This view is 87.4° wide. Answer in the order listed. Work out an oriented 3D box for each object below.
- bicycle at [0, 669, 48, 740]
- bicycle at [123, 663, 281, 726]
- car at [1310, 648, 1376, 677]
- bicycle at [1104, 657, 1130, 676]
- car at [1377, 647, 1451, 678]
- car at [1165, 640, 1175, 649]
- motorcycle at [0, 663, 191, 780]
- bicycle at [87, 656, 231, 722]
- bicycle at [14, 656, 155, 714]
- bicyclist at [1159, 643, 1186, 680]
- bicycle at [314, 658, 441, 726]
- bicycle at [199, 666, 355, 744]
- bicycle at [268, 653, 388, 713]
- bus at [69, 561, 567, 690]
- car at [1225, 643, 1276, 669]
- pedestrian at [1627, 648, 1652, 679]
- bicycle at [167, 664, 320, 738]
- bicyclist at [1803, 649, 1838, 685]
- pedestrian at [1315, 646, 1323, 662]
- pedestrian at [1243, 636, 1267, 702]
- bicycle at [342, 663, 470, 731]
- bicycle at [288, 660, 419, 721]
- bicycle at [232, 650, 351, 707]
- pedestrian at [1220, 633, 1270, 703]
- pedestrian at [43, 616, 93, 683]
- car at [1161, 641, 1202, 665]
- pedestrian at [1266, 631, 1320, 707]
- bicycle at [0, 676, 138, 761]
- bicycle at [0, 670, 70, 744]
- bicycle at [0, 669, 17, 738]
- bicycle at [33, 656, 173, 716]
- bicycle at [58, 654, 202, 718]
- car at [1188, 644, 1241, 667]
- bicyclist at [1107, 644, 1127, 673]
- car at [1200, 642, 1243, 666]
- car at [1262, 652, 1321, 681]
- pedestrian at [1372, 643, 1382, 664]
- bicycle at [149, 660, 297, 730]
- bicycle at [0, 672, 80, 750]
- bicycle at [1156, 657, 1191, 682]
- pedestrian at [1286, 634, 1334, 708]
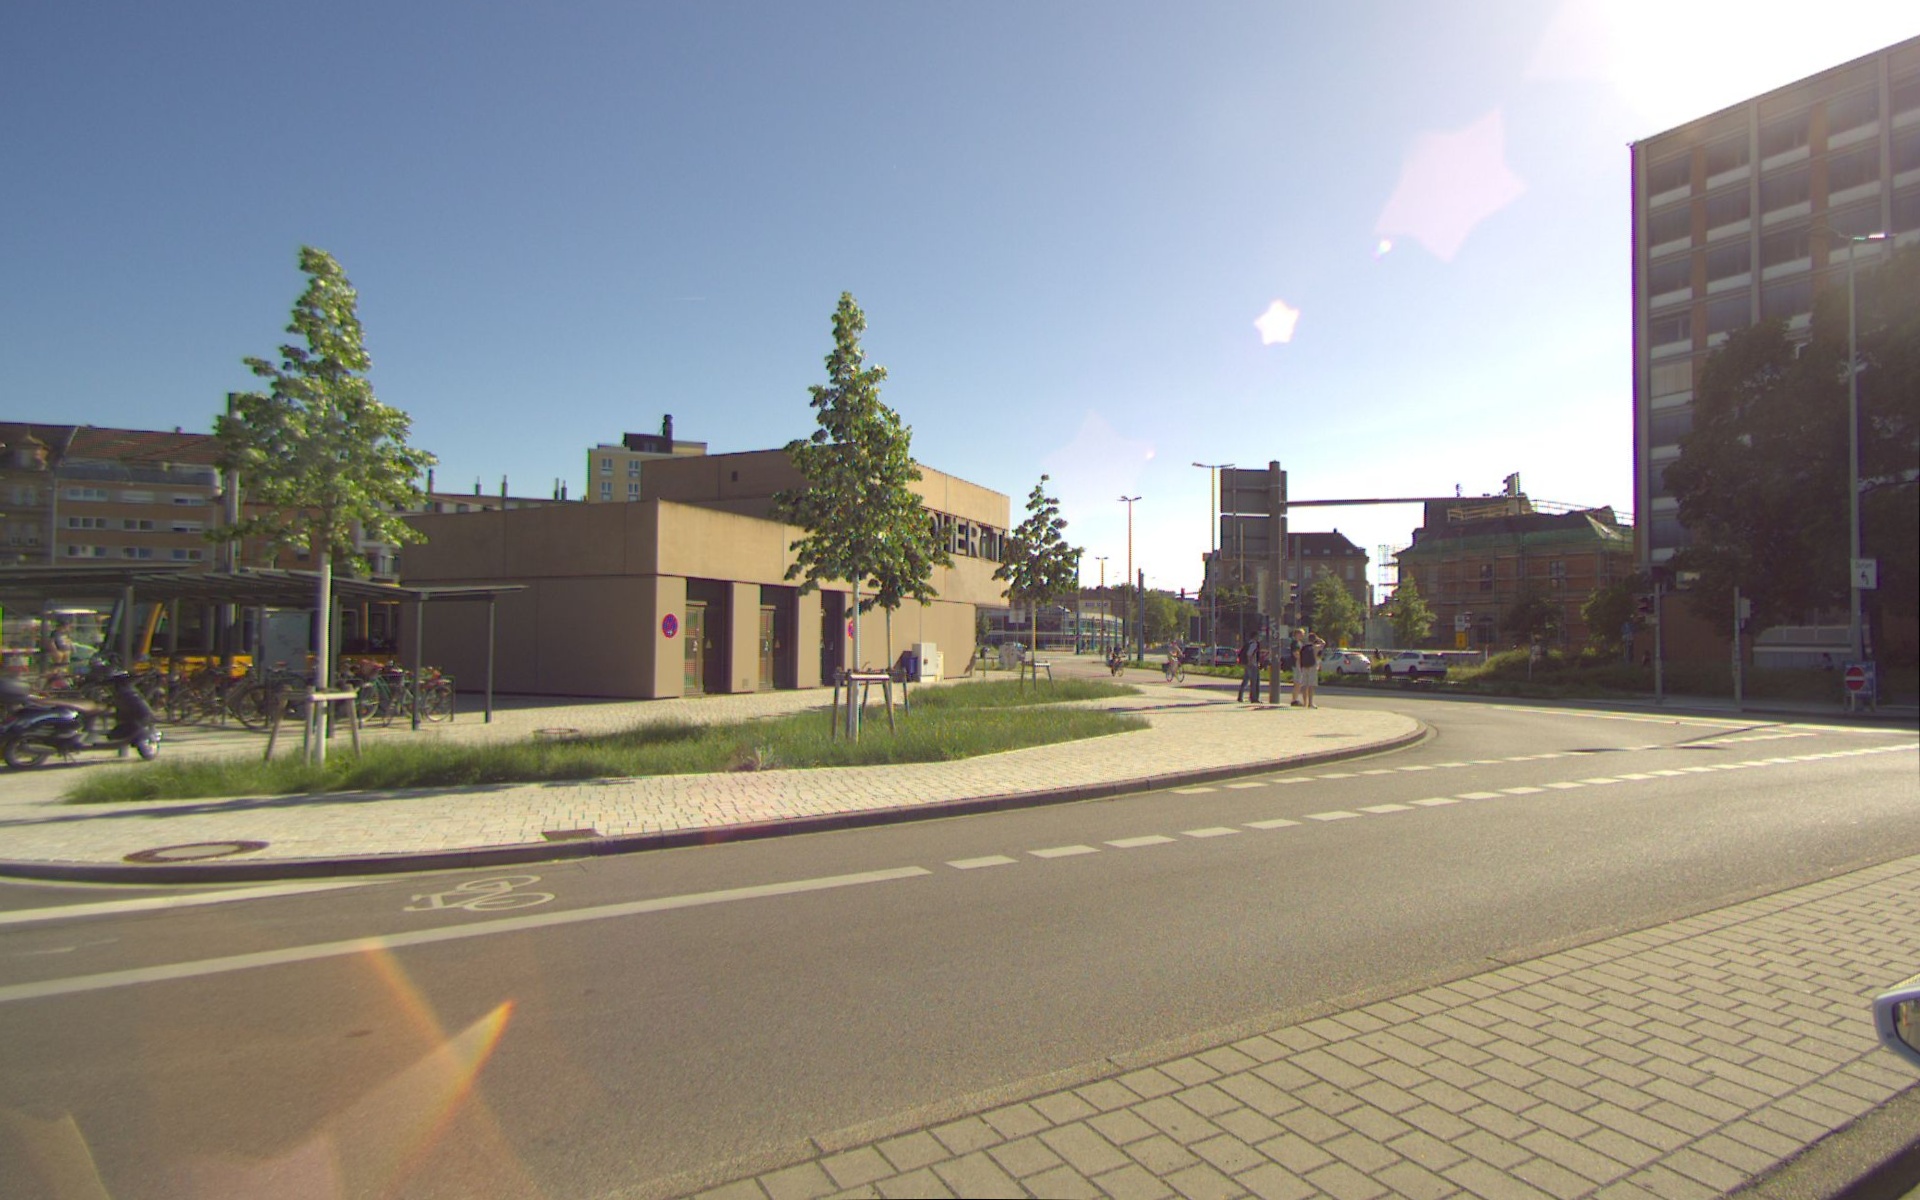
[{"bbox_3d":[-14.200,1.525,14.372,0.399,0.985,1.683,2,0,22],"label":"bicycle"},{"bbox_3d":[-13.709,1.677,18.258,0.673,0.956,2.233,2,0,25],"label":"bicycle"},{"bbox_3d":[21.258,3.453,55.923,1.711,1.454,3.843,1,-2,-10],"label":"car"},{"bbox_3d":[7.855,3.339,50.259,0.675,0.930,1.988,1,-4,-9],"label":"bicycle"},{"bbox_3d":[26.824,3.658,59.526,1.809,1.653,4.835,1,-2,-6],"label":"car"},{"bbox_3d":[46.256,9.830,221.304,1.959,2.040,4.003,0,-2,7],"label":"car"},{"bbox_3d":[-10.849,1.446,12.473,0.558,1.235,2.087,0,-1,21],"label":"motorcycle"},{"bbox_3d":[-15.017,1.640,18.902,0.524,1.051,2.070,5,1,26],"label":"bicycle"},{"bbox_3d":[-17.772,1.696,20.453,0.524,1.051,2.070,5,0,26],"label":"bicycle"},{"bbox_3d":[8.908,2.560,42.062,0.728,1.519,1.070,1,-4,-12],"label":"bicyclist"},{"bbox_3d":[-10.798,1.682,18.696,0.594,1.093,2.053,2,0,25],"label":"bicycle"},{"bbox_3d":[-10.903,1.649,16.130,0.524,1.051,2.070,2,0,26],"label":"bicycle"},{"bbox_3d":[-12.743,1.646,20.325,0.524,1.051,2.070,2,0,26],"label":"bicycle"},{"bbox_3d":[-18.525,0.862,31.155,2.810,3.112,13.620,0,-2,25],"label":"bus"},{"bbox_3d":[20.038,3.836,69.430,1.810,1.653,4.382,1,-2,-8],"label":"car"},{"bbox_3d":[34.933,3.269,51.681,0.549,1.591,0.862,0,-5,-7],"label":"pedestrian"},{"bbox_3d":[-11.962,1.653,16.862,0.524,1.051,2.070,2,0,26],"label":"bicycle"},{"bbox_3d":[35.509,2.774,41.469,0.588,1.448,0.938,1,-2,-10],"label":"bicyclist"},{"bbox_3d":[38.278,5.765,107.106,0.645,1.758,0.680,0,-2,1],"label":"pedestrian"},{"bbox_3d":[7.933,1.847,27.030,0.585,1.751,0.580,0,-2,14],"label":"pedestrian"},{"bbox_3d":[-9.967,1.720,18.158,0.524,1.051,2.070,2,0,26],"label":"bicycle"},{"bbox_3d":[-11.762,1.731,19.569,0.679,1.011,2.140,2,0,26],"label":"bicycle"},{"bbox_3d":[-13.917,1.614,20.989,0.524,1.051,2.070,2,0,26],"label":"bicycle"},{"bbox_3d":[7.231,1.730,25.476,0.831,1.711,0.896,5,-5,-34],"label":"pedestrian"},{"bbox_3d":[-26.042,1.433,29.338,0.755,1.942,0.803,0,-2,23],"label":"pedestrian"},{"bbox_3d":[16.520,3.934,75.121,1.809,1.653,4.386,1,-2,-4],"label":"car"},{"bbox_3d":[8.199,1.708,24.764,1.082,1.822,0.705,1,-4,-3],"label":"pedestrian"},{"bbox_3d":[-12.203,1.573,13.575,0.399,0.985,1.683,2,0,22],"label":"bicycle"},{"bbox_3d":[-13.696,1.531,14.171,0.399,0.985,1.683,2,0,22],"label":"bicycle"},{"bbox_3d":[-14.718,1.540,14.422,0.399,0.985,1.683,2,0,22],"label":"bicycle"},{"bbox_3d":[-16.884,1.676,19.845,0.524,1.051,2.070,-2,-2,26],"label":"bicycle"},{"bbox_3d":[-15.902,1.623,19.317,0.524,1.051,2.070,5,1,26],"label":"bicycle"},{"bbox_3d":[17.267,3.761,68.322,1.810,1.406,4.895,1,-2,-8],"label":"car"},{"bbox_3d":[7.860,2.952,50.283,0.675,1.440,1.126,1,-4,-10],"label":"bicyclist"},{"bbox_3d":[19.617,4.030,75.502,1.809,1.653,4.386,1,-2,-4],"label":"car"},{"bbox_3d":[20.698,4.130,62.885,1.810,1.653,4.382,1,-2,-8],"label":"car"},{"bbox_3d":[32.476,4.152,78.249,0.636,1.637,0.548,0,-2,10],"label":"pedestrian"},{"bbox_3d":[-12.899,1.629,17.653,0.524,1.051,2.070,2,0,26],"label":"bicycle"},{"bbox_3d":[-13.230,1.543,13.809,0.399,0.985,1.683,2,0,22],"label":"bicycle"},{"bbox_3d":[8.908,2.915,42.047,0.728,1.008,1.988,1,-4,-10],"label":"bicycle"},{"bbox_3d":[8.355,1.703,23.993,0.776,1.711,0.792,3,-5,-16],"label":"pedestrian"}]
